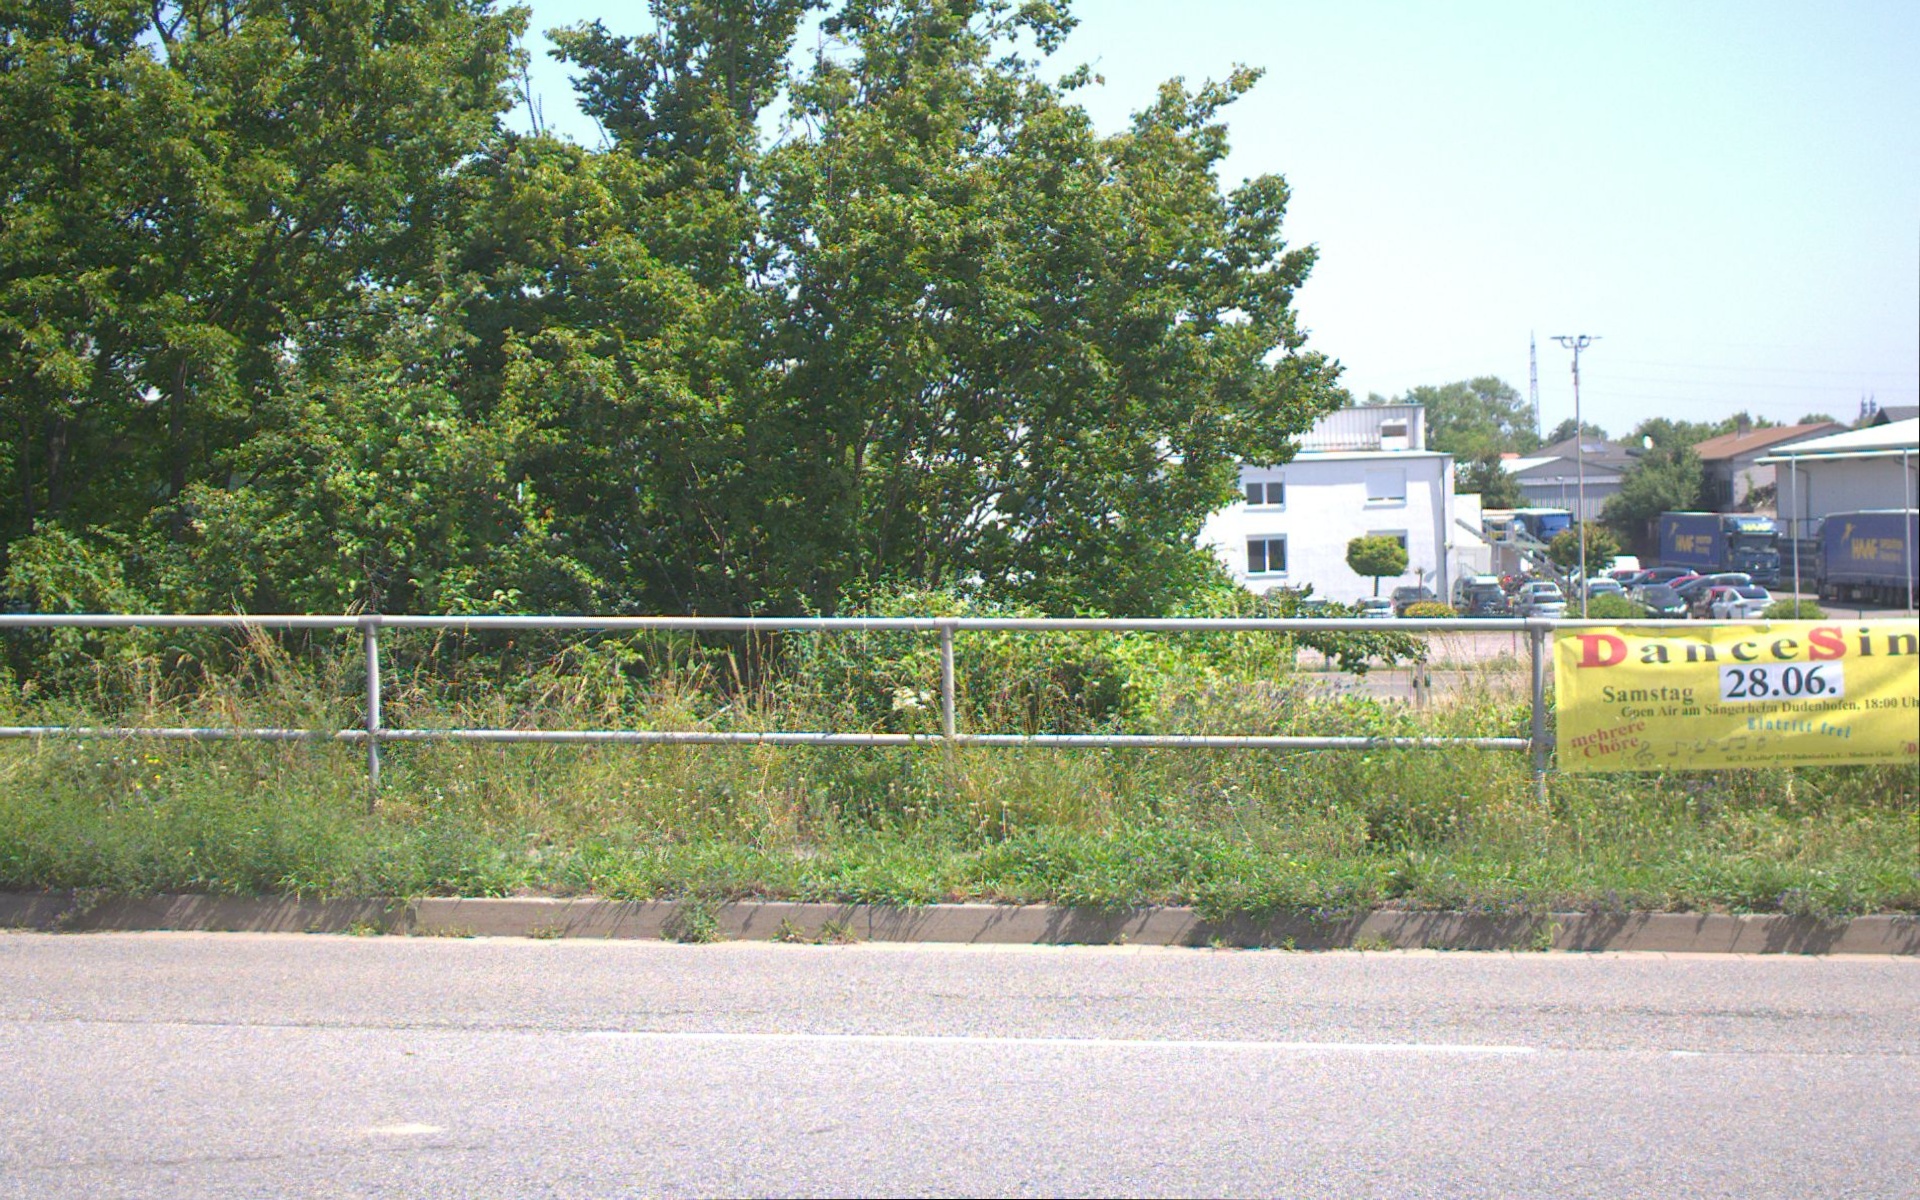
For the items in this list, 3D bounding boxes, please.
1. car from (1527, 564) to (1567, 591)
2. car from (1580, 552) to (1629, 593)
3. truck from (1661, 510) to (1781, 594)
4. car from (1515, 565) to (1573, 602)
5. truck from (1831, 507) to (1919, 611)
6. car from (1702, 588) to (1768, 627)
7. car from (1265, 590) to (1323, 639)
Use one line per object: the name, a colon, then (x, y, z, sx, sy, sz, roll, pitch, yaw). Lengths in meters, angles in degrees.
car: (30.067, -1.166, 176.228, 1.450, 1.346, 3.316, 0, 1, 0)
car: (32.575, -1.421, 173.876, 1.717, 2.007, 4.000, 0, 1, 0)
truck: (40.548, -2.612, 183.798, 3.412, 4.296, 14.593, 0, 1, 1)
car: (28.602, -0.831, 168.432, 1.993, 1.725, 4.864, 0, 1, 0)
truck: (41.113, -1.819, 149.124, 3.708, 4.296, 13.342, 0, 1, 2)
car: (30.177, 0.279, 133.911, 1.683, 1.358, 3.836, -3, 1, 1)
car: (14.499, 0.605, 149.599, 1.993, 2.007, 4.864, 0, 1, 0)
